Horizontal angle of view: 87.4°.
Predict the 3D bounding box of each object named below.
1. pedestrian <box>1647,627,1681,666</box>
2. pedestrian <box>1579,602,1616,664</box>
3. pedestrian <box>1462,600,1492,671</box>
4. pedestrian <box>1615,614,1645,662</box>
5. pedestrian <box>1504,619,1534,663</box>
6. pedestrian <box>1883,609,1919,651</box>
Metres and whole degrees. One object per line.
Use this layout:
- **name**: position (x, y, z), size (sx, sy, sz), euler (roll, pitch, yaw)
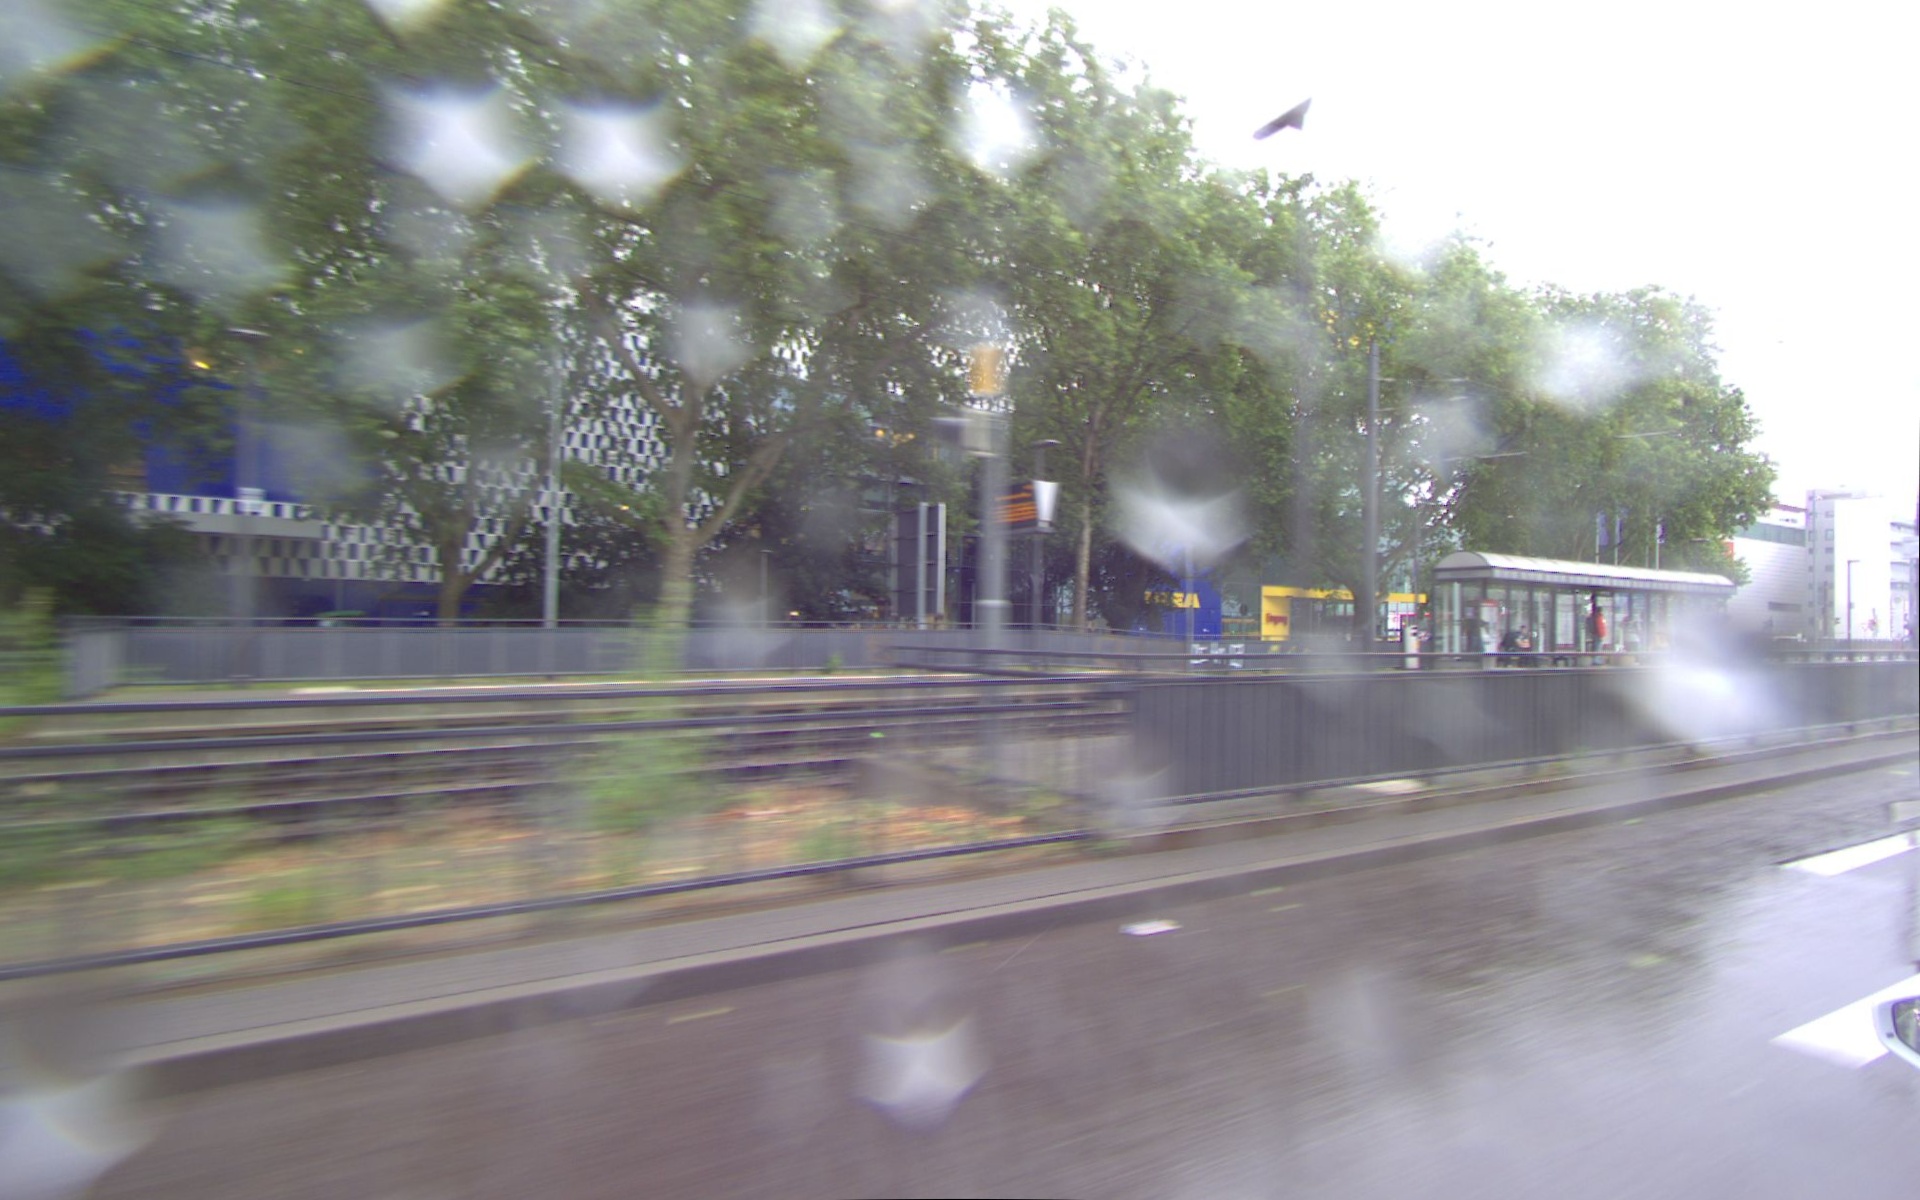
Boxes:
- **pedestrian**: position (24.954, 1.651, 35.613), size (0.804, 1.320, 0.640), euler (2, 0, -27)
- **pedestrian**: position (20.501, 1.054, 32.302), size (0.804, 1.959, 0.619), euler (1, 0, -27)
- **pedestrian**: position (14.980, 1.026, 29.130), size (0.576, 2.040, 0.490), euler (1, 1, -30)
- **pedestrian**: position (22.925, 1.291, 34.373), size (0.814, 1.582, 0.671), euler (2, 1, 34)
- **pedestrian**: position (16.861, 1.231, 30.302), size (0.655, 1.284, 0.491), euler (2, 0, -27)
- **pedestrian**: position (46.692, 1.487, 49.741), size (1.083, 2.040, 1.083), euler (2, 0, -28)
